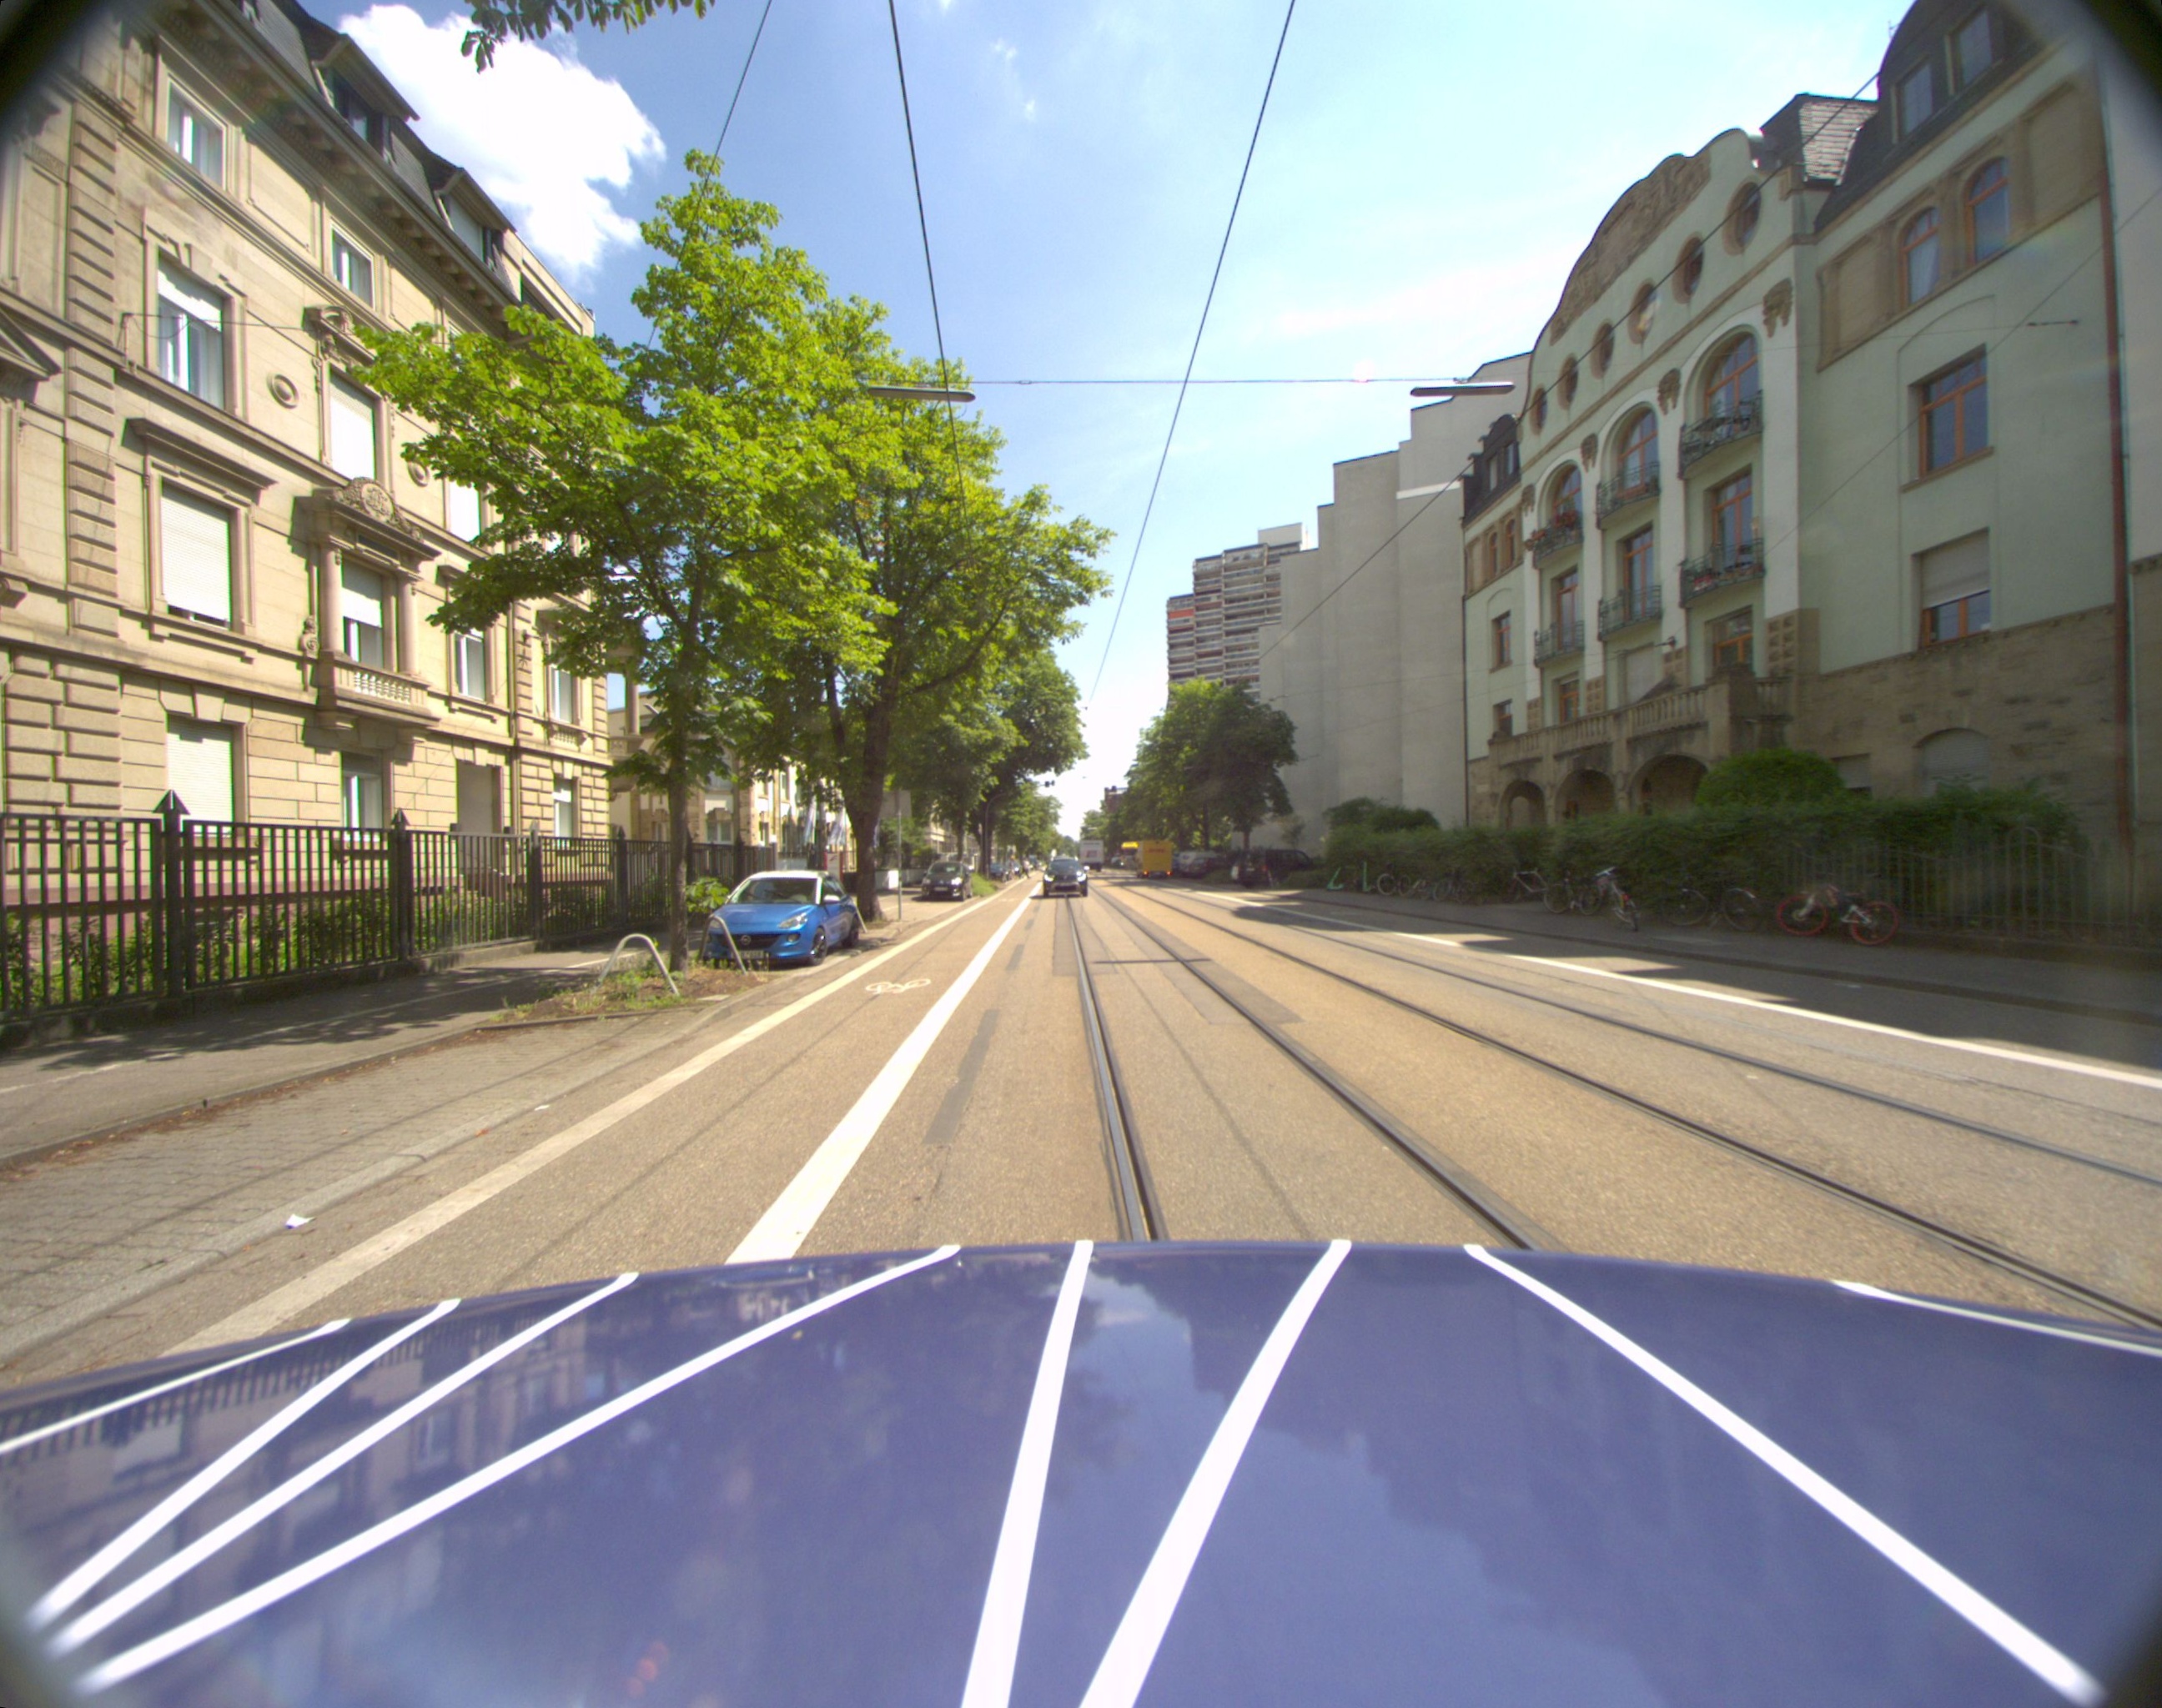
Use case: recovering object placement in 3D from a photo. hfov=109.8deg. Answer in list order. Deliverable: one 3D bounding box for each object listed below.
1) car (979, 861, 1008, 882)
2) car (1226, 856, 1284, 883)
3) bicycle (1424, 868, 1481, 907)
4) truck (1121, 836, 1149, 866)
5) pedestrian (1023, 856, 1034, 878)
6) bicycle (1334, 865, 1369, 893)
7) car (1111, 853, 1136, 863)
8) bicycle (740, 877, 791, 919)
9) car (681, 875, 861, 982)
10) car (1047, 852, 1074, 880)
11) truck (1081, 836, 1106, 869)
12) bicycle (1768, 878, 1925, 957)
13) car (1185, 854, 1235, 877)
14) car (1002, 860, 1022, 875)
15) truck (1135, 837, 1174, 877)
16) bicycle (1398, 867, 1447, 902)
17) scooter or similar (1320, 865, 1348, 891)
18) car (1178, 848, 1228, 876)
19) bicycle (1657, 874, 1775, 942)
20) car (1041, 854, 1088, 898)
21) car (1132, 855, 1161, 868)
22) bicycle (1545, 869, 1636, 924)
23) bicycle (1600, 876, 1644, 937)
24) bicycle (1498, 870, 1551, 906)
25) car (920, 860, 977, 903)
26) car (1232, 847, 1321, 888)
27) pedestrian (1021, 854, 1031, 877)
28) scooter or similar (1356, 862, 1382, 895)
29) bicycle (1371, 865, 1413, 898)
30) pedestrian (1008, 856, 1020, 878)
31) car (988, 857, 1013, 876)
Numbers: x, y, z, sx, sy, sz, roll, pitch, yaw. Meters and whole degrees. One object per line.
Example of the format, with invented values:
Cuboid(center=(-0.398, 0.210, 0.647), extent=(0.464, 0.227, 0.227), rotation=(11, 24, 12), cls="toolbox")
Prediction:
Cuboid(center=(-6.066, 1.193, 52.920), extent=(1.626, 1.395, 3.822), rotation=(1, 0, -2), cls="car")
Cuboid(center=(10.335, 0.894, 45.010), extent=(1.721, 1.445, 3.635), rotation=(-1, 0, 43), cls="car")
Cuboid(center=(10.379, 0.913, 21.306), extent=(0.609, 0.970, 1.771), rotation=(-5, 0, -2), cls="bicycle")
Cuboid(center=(8.066, -0.432, 113.198), extent=(2.672, 4.155, 10.482), rotation=(-1, 0, 12), cls="truck")
Cuboid(center=(-4.486, 1.098, 65.081), extent=(0.741, 1.839, 0.645), rotation=(-1, 1, -35), cls="pedestrian")
Cuboid(center=(10.265, 0.938, 28.879), extent=(0.609, 0.983, 1.707), rotation=(-5, 0, -2), cls="bicycle")
Cuboid(center=(7.975, 0.799, 143.406), extent=(4.337, 1.797, 1.995), rotation=(-1, 0, -34), cls="car")
Cuboid(center=(-9.020, 1.231, 21.799), extent=(0.609, 1.065, 1.980), rotation=(-1, 0, 0), cls="bicycle")
Cuboid(center=(-4.994, 1.126, 12.769), extent=(1.695, 1.444, 3.473), rotation=(-1, 0, -2), cls="car")
Cuboid(center=(-1.411, 0.809, 54.472), extent=(1.753, 1.806, 4.307), rotation=(-4, 0, -1), cls="car")
Cuboid(center=(1.403, -0.122, 88.577), extent=(2.792, 3.598, 8.255), rotation=(-1, 0, 0), cls="truck")
Cuboid(center=(10.823, 0.864, 10.829), extent=(0.414, 0.960, 1.725), rotation=(-4, 0, -2), cls="bicycle")
Cuboid(center=(9.305, 0.803, 54.525), extent=(3.692, 1.566, 1.678), rotation=(-1, 1, -44), cls="car")
Cuboid(center=(-6.641, 1.257, 73.103), extent=(1.626, 1.395, 3.999), rotation=(1, 0, -2), cls="car")
Cuboid(center=(5.617, 0.204, 58.650), extent=(2.306, 2.903, 6.515), rotation=(-1, 0, 0), cls="truck")
Cuboid(center=(10.418, 0.915, 23.259), extent=(0.609, 0.983, 1.707), rotation=(-5, 0, -2), cls="bicycle")
Cuboid(center=(10.149, 0.951, 30.528), extent=(0.407, 1.014, 1.222), rotation=(-1, 0, -17), cls="scooter or similar")
Cuboid(center=(9.346, 0.571, 57.997), extent=(4.061, 2.030, 1.598), rotation=(-1, 0, -42), cls="car")
Cuboid(center=(10.598, 0.875, 12.759), extent=(0.465, 0.993, 1.707), rotation=(-4, 0, -1), cls="bicycle")
Cuboid(center=(-0.695, 0.870, 31.666), extent=(1.753, 1.641, 4.297), rotation=(-3, 0, -2), cls="car")
Cuboid(center=(8.142, 0.915, 94.210), extent=(1.678, 1.445, 3.682), rotation=(-1, 0, 43), cls="car")
Cuboid(center=(10.711, 0.857, 16.057), extent=(0.609, 1.026, 1.771), rotation=(-5, 0, -2), cls="bicycle")
Cuboid(center=(9.842, 0.923, 13.858), extent=(0.608, 0.993, 1.778), rotation=(-1, 0, 34), cls="bicycle")
Cuboid(center=(11.760, 0.895, 20.150), extent=(1.208, 0.903, 0.340), rotation=(-1, 0, 0), cls="bicycle")
Cuboid(center=(-5.474, 1.095, 31.795), extent=(1.734, 1.606, 4.083), rotation=(1, 0, -1), cls="car")
Cuboid(center=(9.917, 0.658, 38.341), extent=(4.595, 1.914, 1.957), rotation=(-1, 0, -39), cls="car")
Cuboid(center=(-4.586, 0.953, 63.544), extent=(0.645, 1.839, 0.741), rotation=(-1, 0, 16), cls="pedestrian")
Cuboid(center=(10.266, 0.869, 27.105), extent=(0.407, 1.113, 1.291), rotation=(-1, 0, 0), cls="scooter or similar")
Cuboid(center=(10.396, 0.904, 25.468), extent=(0.609, 0.983, 1.707), rotation=(-5, 0, -2), cls="bicycle")
Cuboid(center=(-5.665, 1.132, 64.135), extent=(0.645, 1.839, 0.741), rotation=(-1, 1, 25), cls="pedestrian")
Cuboid(center=(-6.356, 0.987, 60.411), extent=(1.626, 1.395, 3.999), rotation=(1, 0, -2), cls="car")
